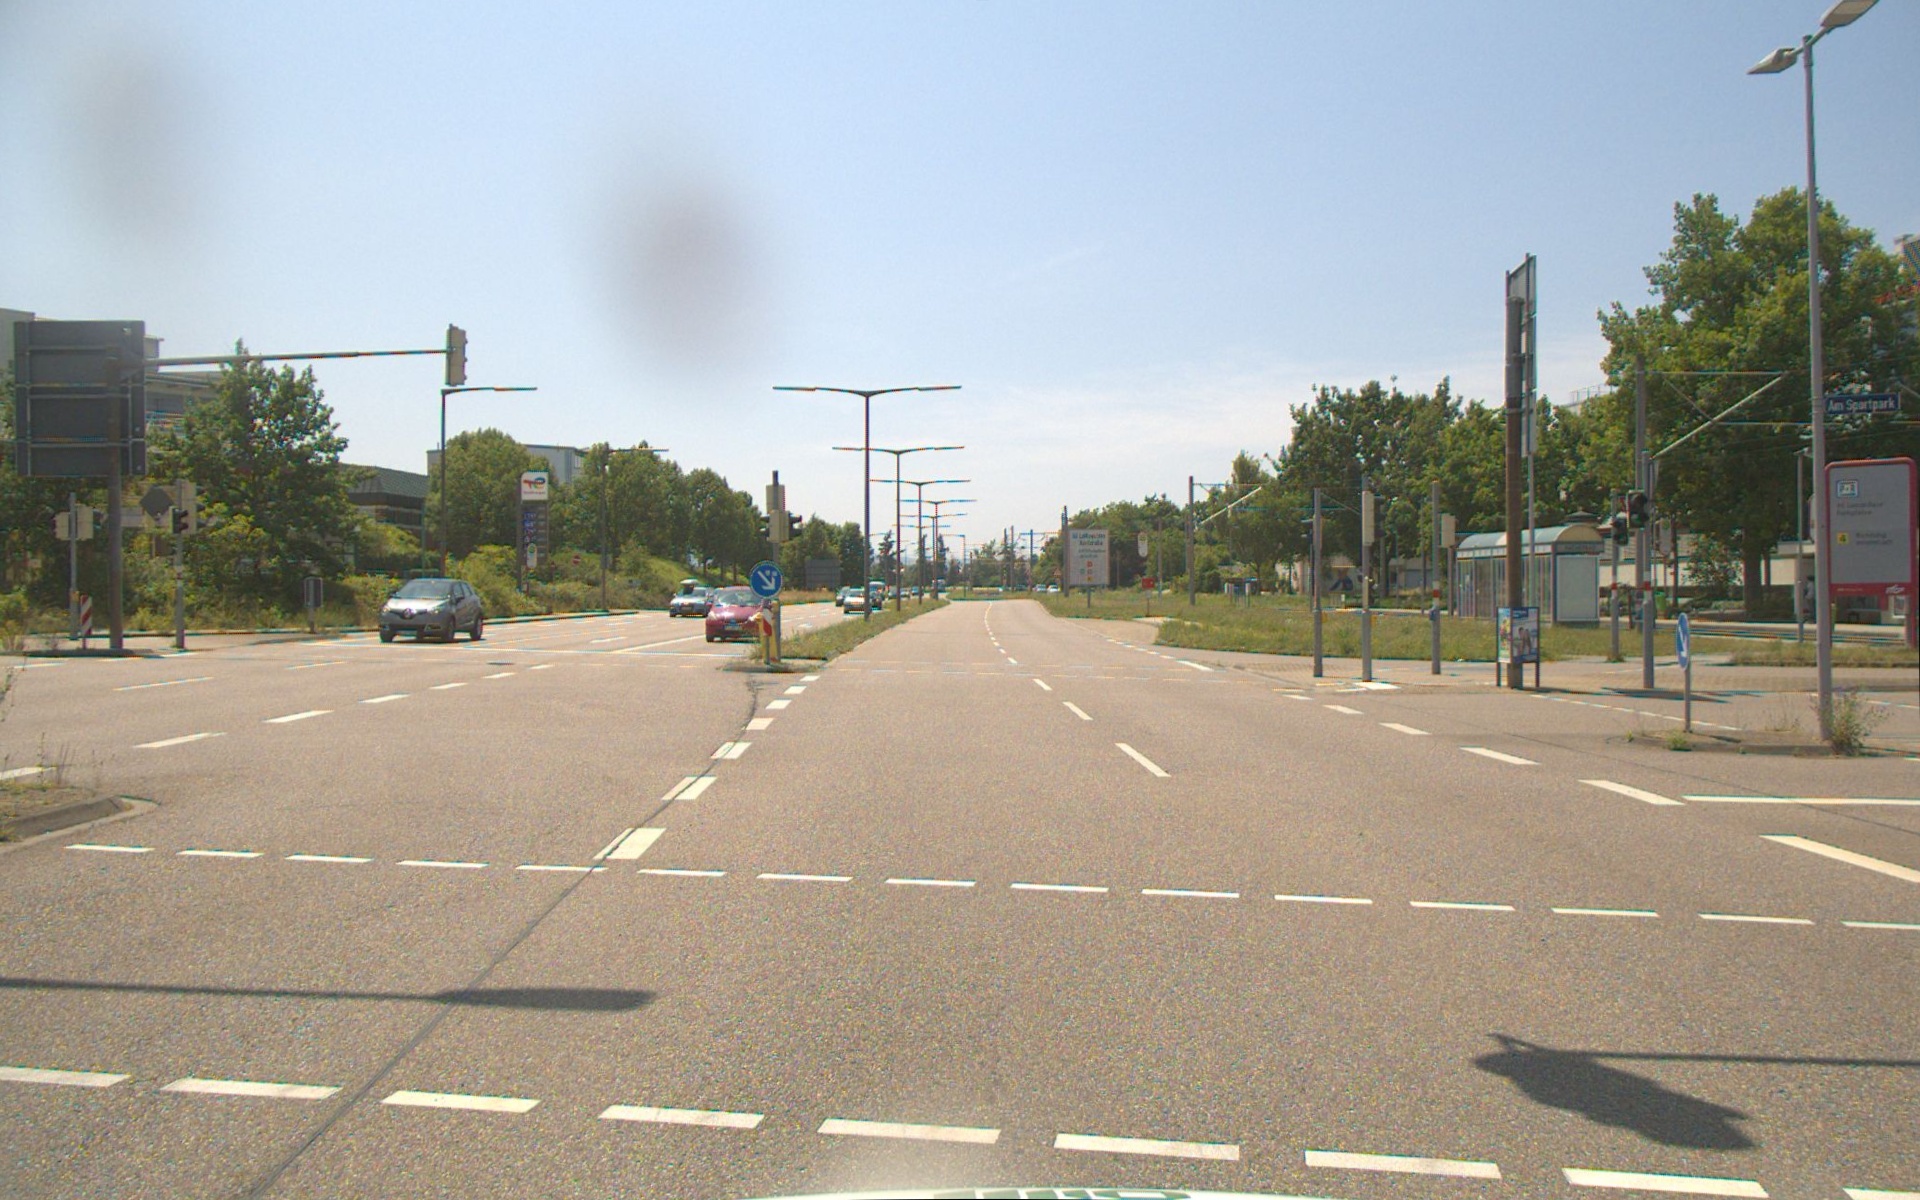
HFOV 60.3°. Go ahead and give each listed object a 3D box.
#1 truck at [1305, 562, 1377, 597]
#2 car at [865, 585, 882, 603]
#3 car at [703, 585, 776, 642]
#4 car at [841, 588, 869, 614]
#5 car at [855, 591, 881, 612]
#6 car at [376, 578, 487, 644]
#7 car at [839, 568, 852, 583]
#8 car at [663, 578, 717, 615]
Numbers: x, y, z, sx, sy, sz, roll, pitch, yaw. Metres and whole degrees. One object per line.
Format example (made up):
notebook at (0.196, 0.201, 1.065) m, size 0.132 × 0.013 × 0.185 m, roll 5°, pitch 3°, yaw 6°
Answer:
truck at (34.145, -1.820, 148.274) m, size 5.730 × 2.893 × 2.316 m, roll -2°, pitch 0°, yaw -8°
car at (-10.599, -0.724, 203.194) m, size 1.954 × 2.049 × 3.997 m, roll 1°, pitch 0°, yaw -4°
car at (-6.204, 0.351, 46.870) m, size 1.625 × 1.516 × 3.999 m, roll 0°, pitch 1°, yaw -2°
car at (-6.206, 0.056, 98.052) m, size 1.529 × 1.448 × 3.853 m, roll 0°, pitch 1°, yaw -2°
car at (-6.517, 0.084, 117.265) m, size 1.642 × 1.459 × 4.190 m, roll 0°, pitch 0°, yaw -1°
car at (-13.520, 0.247, 42.520) m, size 1.625 × 1.566 × 3.999 m, roll 2°, pitch 0°, yaw -2°
car at (-17.160, -3.658, 248.567) m, size 1.954 × 2.049 × 3.997 m, roll 1°, pitch 0°, yaw -4°
car at (-13.210, -0.198, 81.222) m, size 1.925 × 1.780 × 5.021 m, roll 0°, pitch 1°, yaw -2°
